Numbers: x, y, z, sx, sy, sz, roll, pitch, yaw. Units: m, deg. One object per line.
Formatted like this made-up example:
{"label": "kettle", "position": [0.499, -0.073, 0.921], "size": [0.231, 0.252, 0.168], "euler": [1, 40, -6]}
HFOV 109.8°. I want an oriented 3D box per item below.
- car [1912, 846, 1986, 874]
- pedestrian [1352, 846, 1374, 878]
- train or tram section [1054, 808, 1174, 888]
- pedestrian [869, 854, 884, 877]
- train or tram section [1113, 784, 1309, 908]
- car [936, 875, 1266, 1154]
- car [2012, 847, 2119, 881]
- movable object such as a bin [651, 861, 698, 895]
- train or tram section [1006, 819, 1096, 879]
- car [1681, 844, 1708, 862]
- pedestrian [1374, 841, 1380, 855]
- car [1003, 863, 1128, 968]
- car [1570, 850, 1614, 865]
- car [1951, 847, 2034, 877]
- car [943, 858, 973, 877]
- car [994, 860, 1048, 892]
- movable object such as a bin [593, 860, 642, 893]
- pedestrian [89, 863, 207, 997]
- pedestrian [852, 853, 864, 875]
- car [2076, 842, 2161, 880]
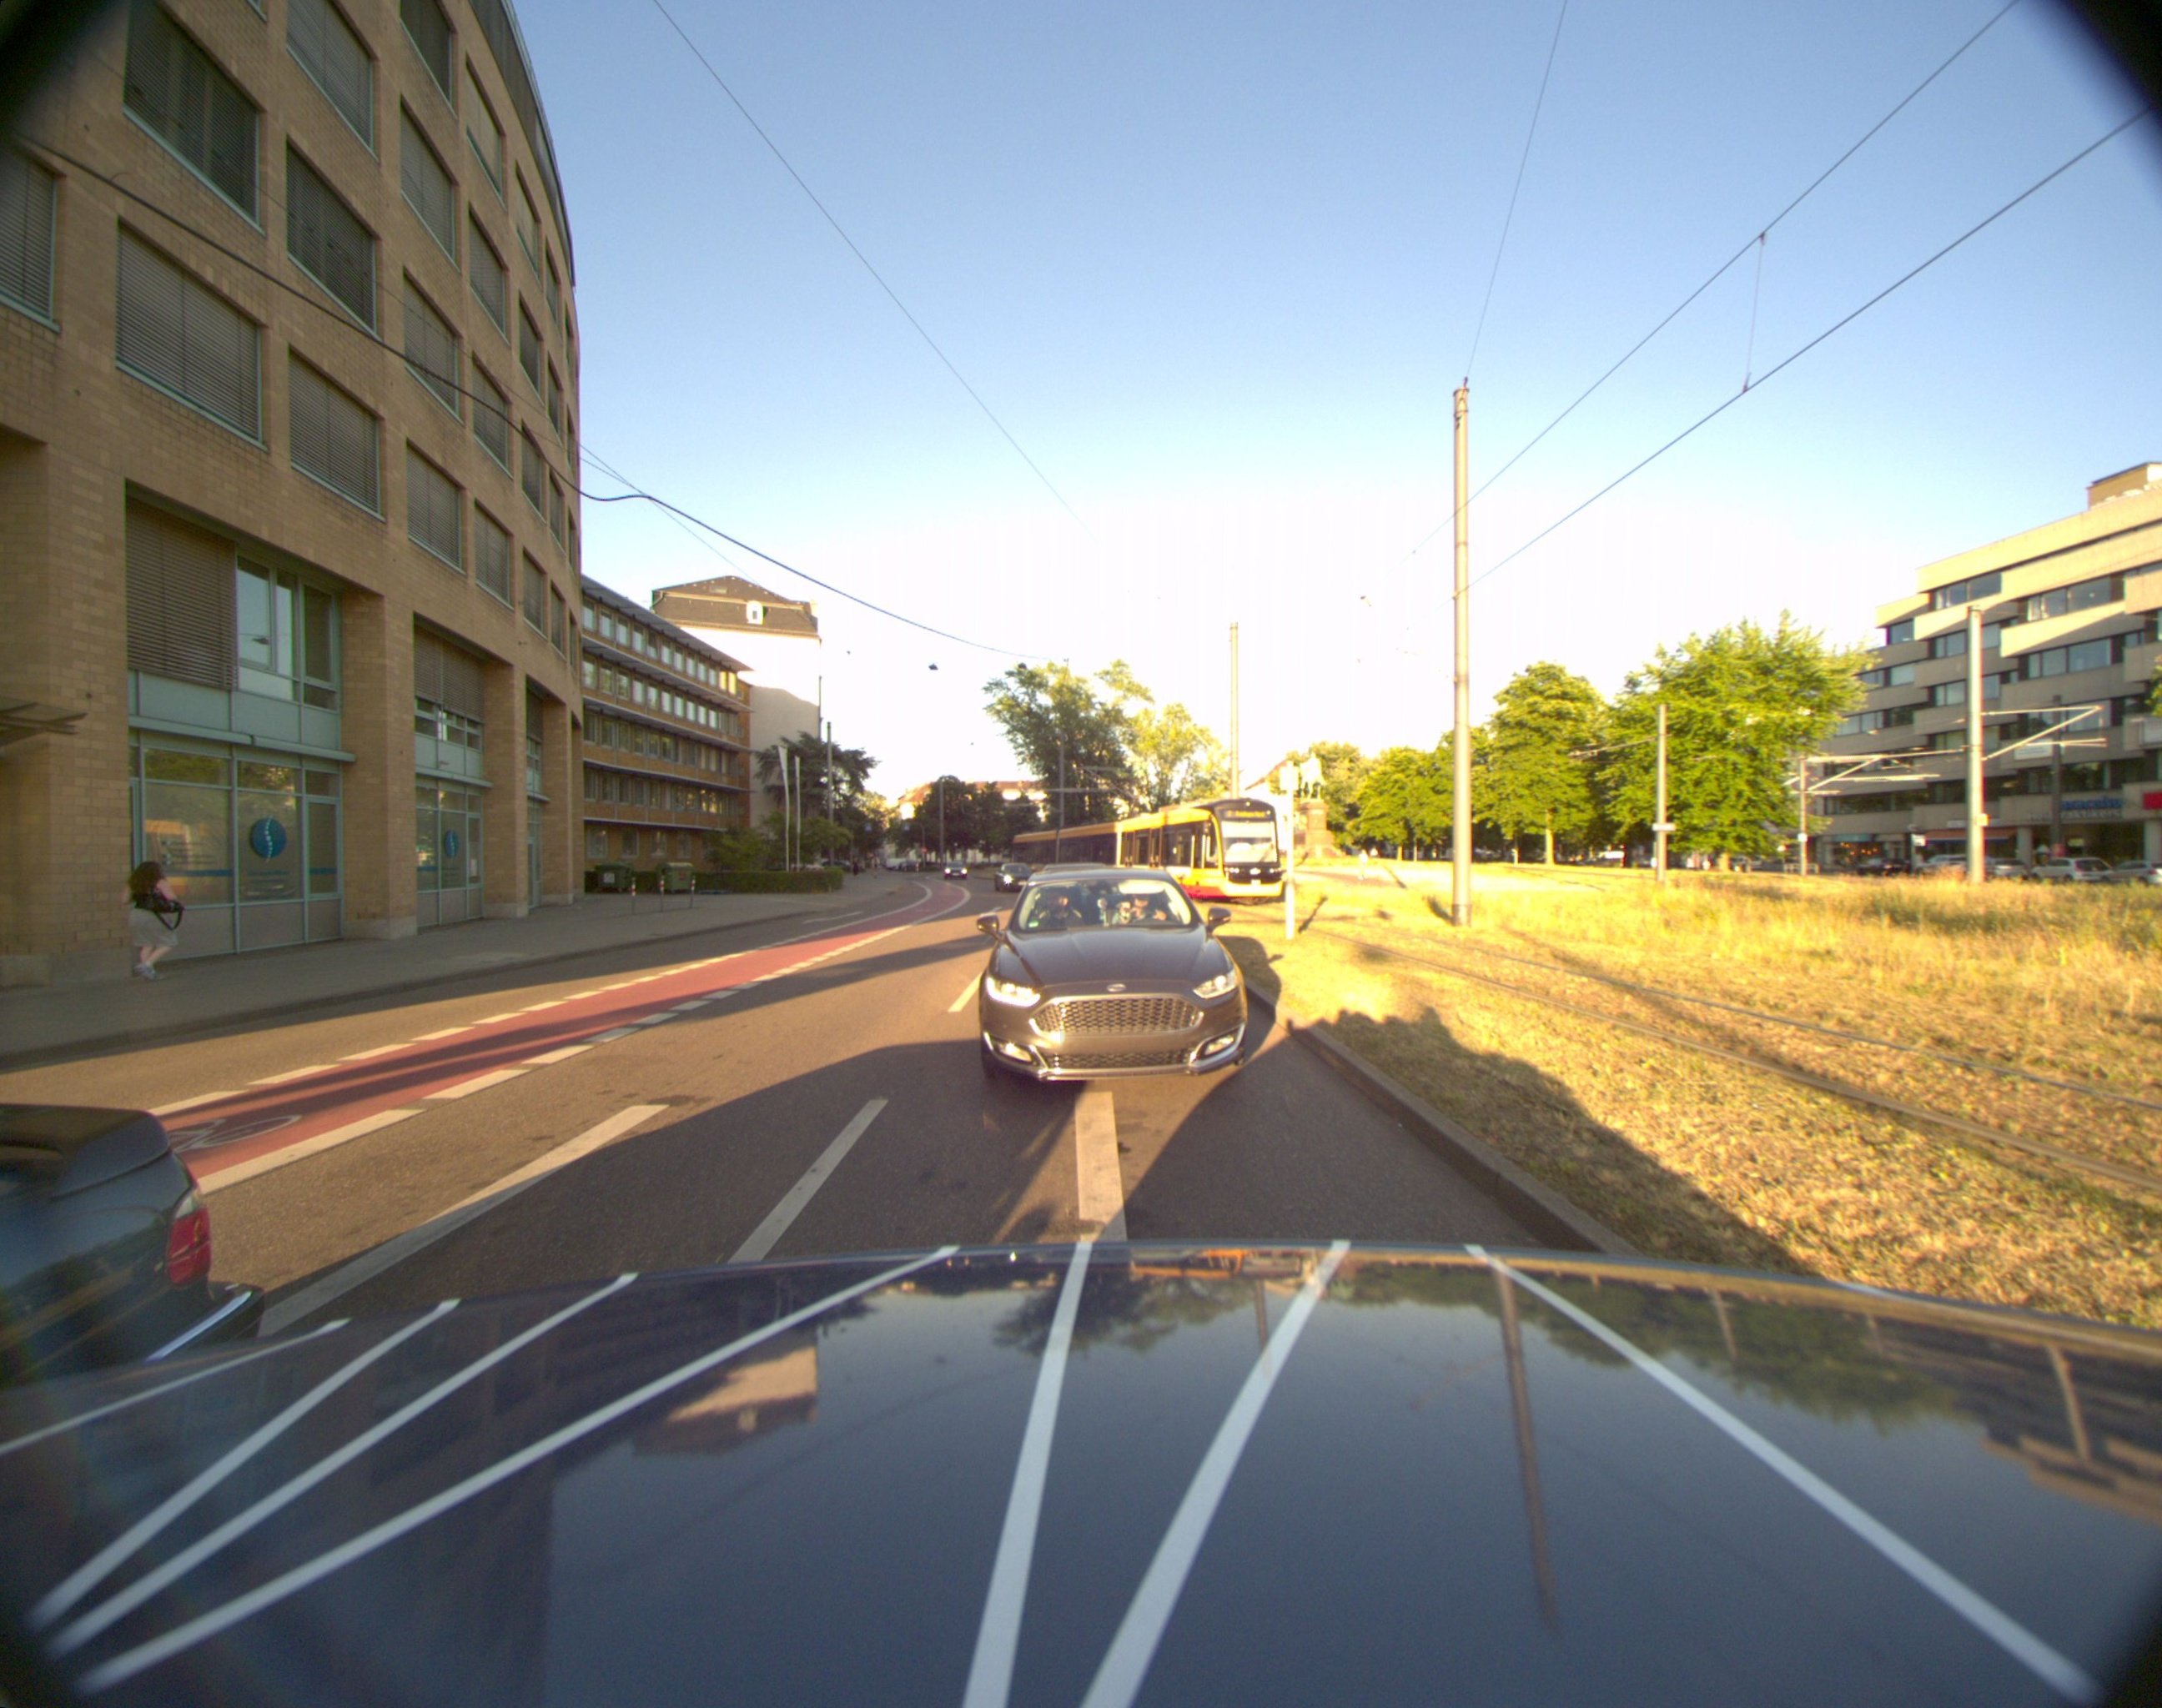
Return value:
{"label": "car", "position": [61.325, 0.380, 53.768], "size": [1.995, 1.925, 4.007], "euler": [-1, 0, 24]}
{"label": "pedestrian", "position": [15.470, 0.454, 41.697], "size": [0.891, 1.718, 0.797], "euler": [-1, 1, 1]}
{"label": "train or tram section", "position": [1.372, -0.303, 41.515], "size": [2.888, 3.717, 12.166], "euler": [-1, 0, -16]}
{"label": "pedestrian", "position": [-17.303, 0.951, 64.183], "size": [0.913, 1.883, 1.123], "euler": [-1, 1, -31]}
{"label": "train or tram section", "position": [4.244, -0.252, 29.442], "size": [2.919, 3.717, 13.204], "euler": [-1, 0, -11]}
{"label": "car", "position": [0.154, 0.993, 6.741], "size": [1.890, 1.477, 4.725], "euler": [0, 0, 1]}
{"label": "car", "position": [56.298, 0.557, 43.561], "size": [1.995, 1.868, 4.006], "euler": [-1, 0, 22]}
{"label": "movable object such as a bin", "position": [-18.277, 1.057, 34.198], "size": [1.427, 1.450, 1.332], "euler": [-1, 0, -3]}
{"label": "train or tram section", "position": [-2.419, -0.301, 53.483], "size": [2.917, 3.717, 12.171], "euler": [-1, 0, -19]}
{"label": "car", "position": [72.168, -0.159, 89.400], "size": [1.995, 2.002, 4.007], "euler": [-2, 1, 32]}
{"label": "pedestrian", "position": [35.943, -0.721, 92.174], "size": [0.535, 1.684, 0.512], "euler": [-1, 1, 1]}
{"label": "car", "position": [-0.190, 0.962, 13.934], "size": [1.897, 1.526, 4.705], "euler": [-1, 0, 1]}
{"label": "car", "position": [61.616, 0.446, 91.745], "size": [3.992, 1.745, 1.970], "euler": [-1, 0, 16]}
{"label": "car", "position": [58.822, 0.471, 49.138], "size": [1.995, 1.868, 4.007], "euler": [0, 0, 27]}
{"label": "car", "position": [-9.908, 1.095, 61.400], "size": [1.759, 1.379, 3.999], "euler": [-3, 0, -1]}
{"label": "car", "position": [-3.110, 1.085, 38.413], "size": [2.001, 1.453, 4.137], "euler": [-1, 0, -15]}
{"label": "movable object such as a bin", "position": [-21.194, 1.030, 34.783], "size": [1.427, 1.450, 1.332], "euler": [-1, 0, -2]}
{"label": "pedestrian", "position": [-12.201, 0.966, 9.960], "size": [0.628, 1.672, 0.713], "euler": [-1, 1, -3]}
{"label": "pedestrian", "position": [-18.598, 0.851, 63.285], "size": [0.728, 1.797, 0.724], "euler": [-1, 1, 1]}
{"label": "car", "position": [54.073, 0.340, 38.965], "size": [1.921, 1.853, 4.006], "euler": [0, 0, 23]}
